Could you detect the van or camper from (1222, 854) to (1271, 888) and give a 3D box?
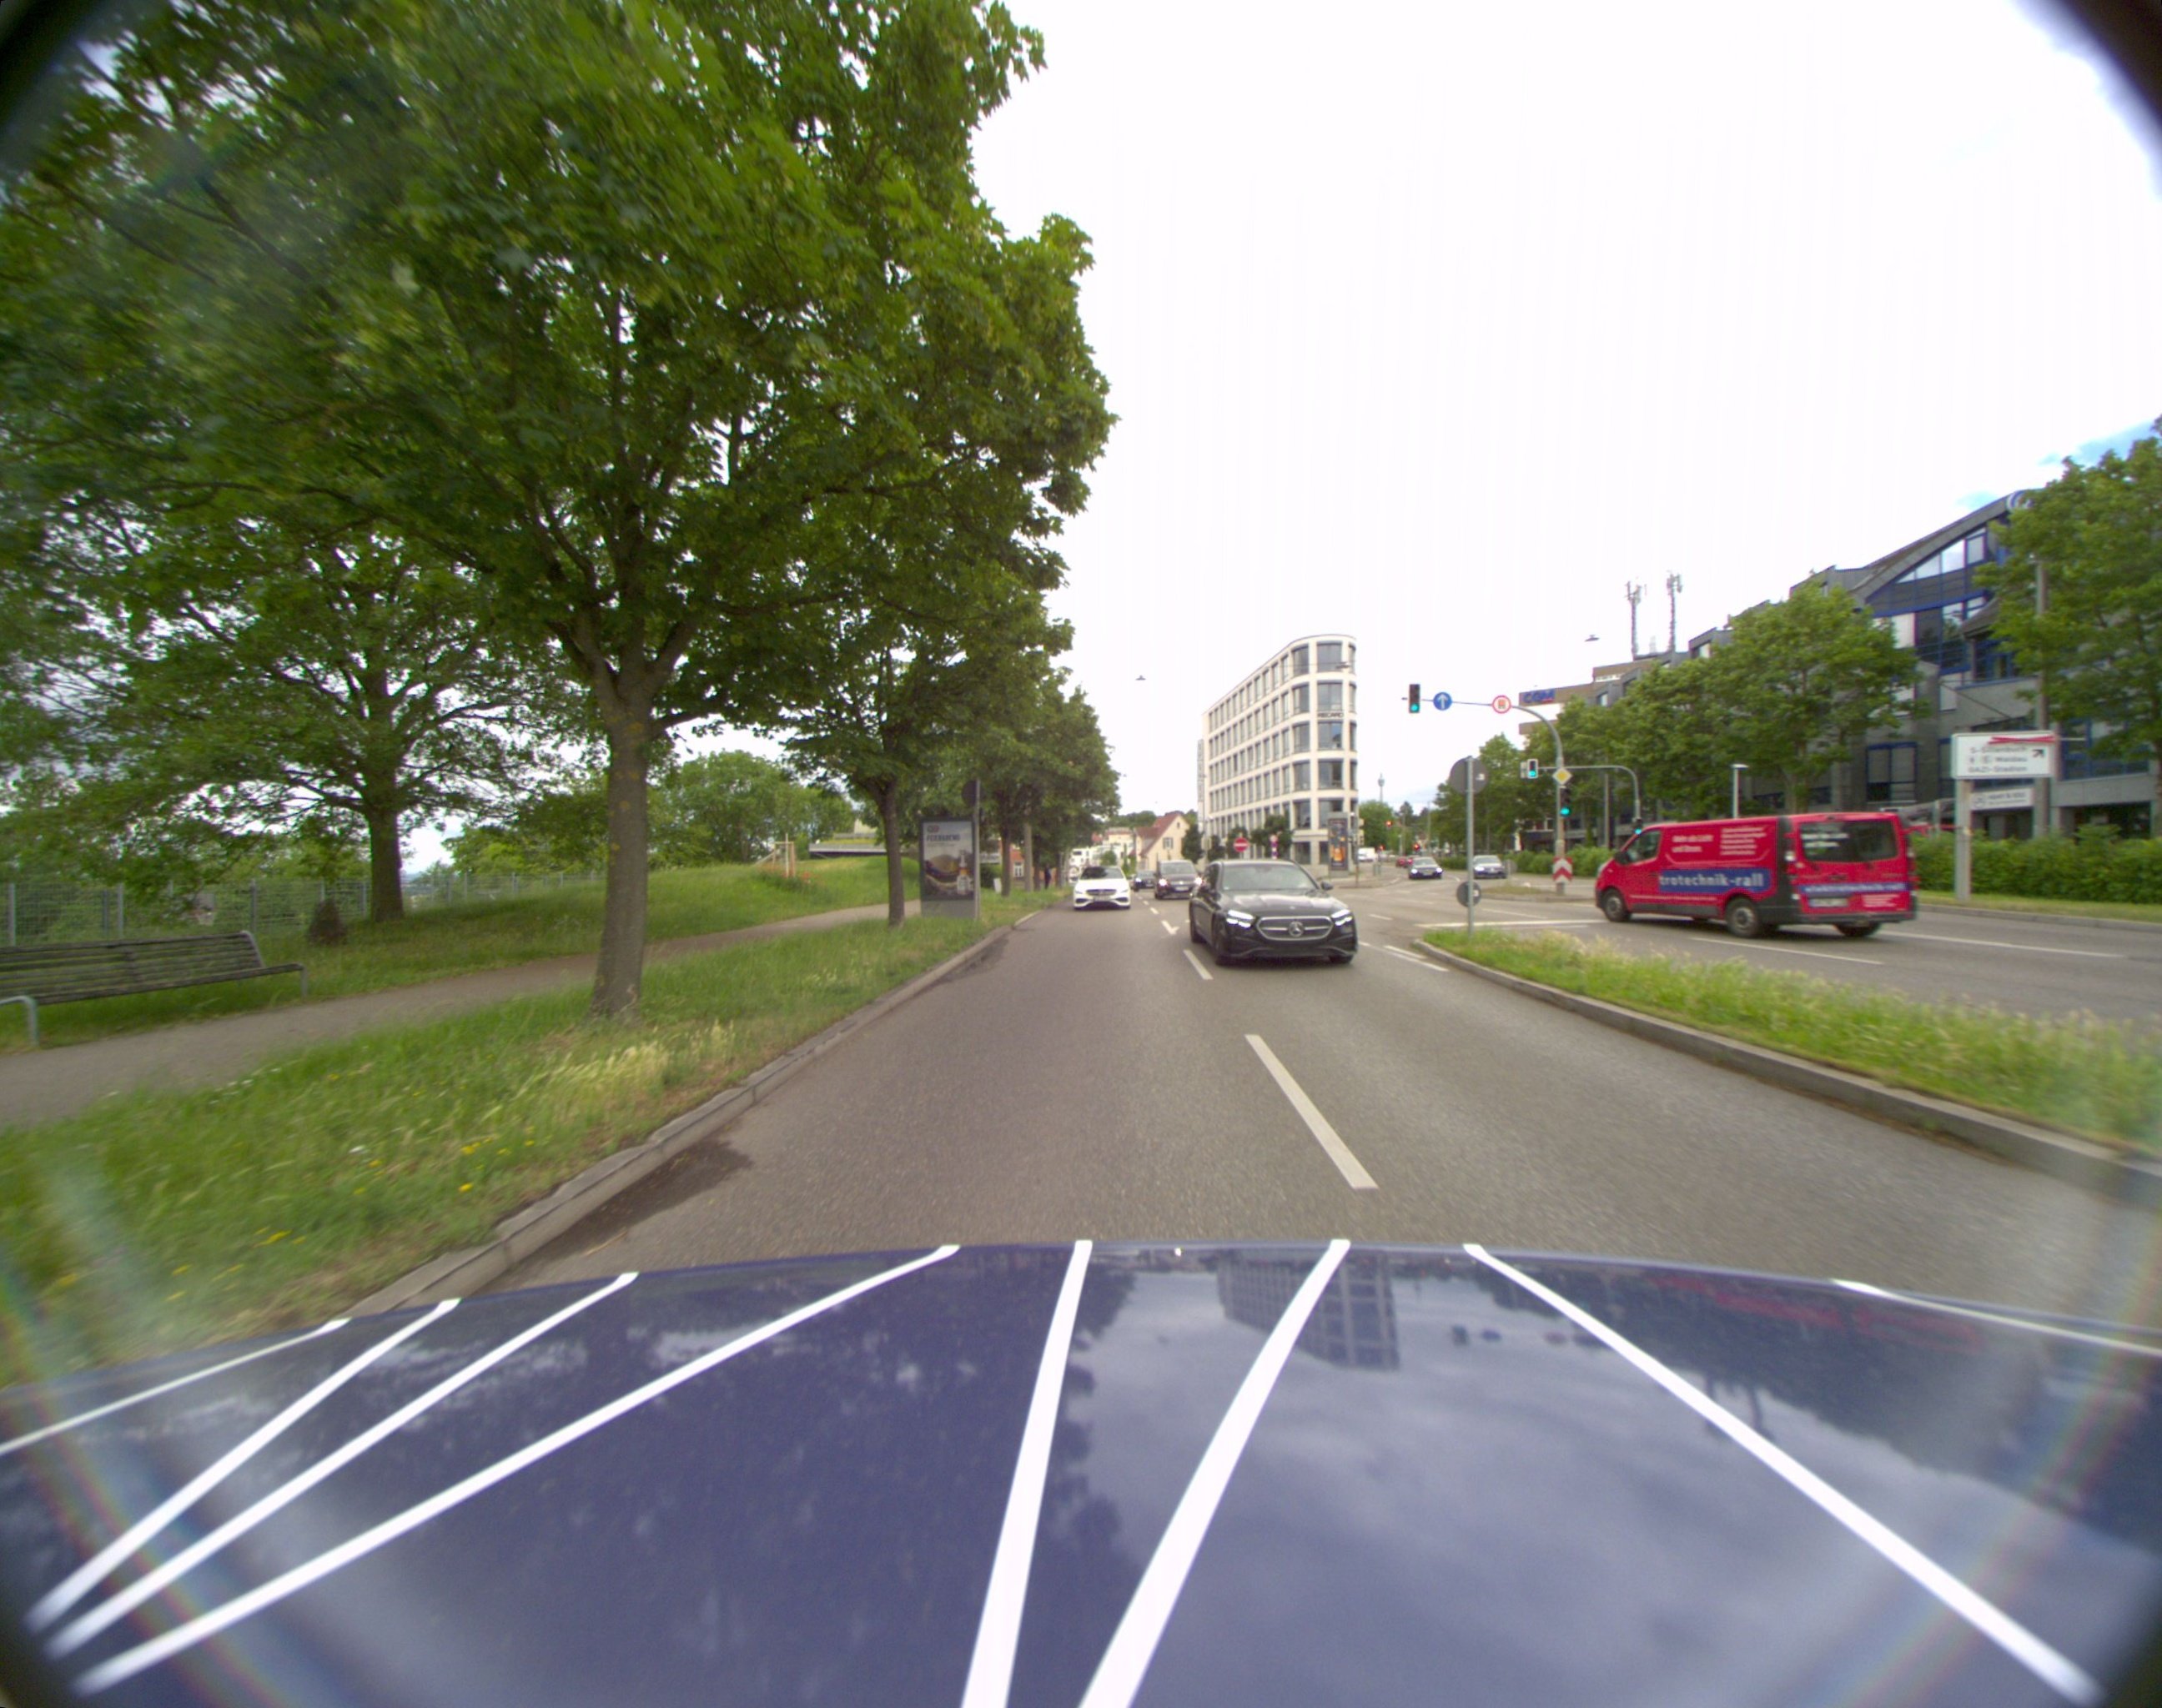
[{"bbox_3d":[10.181,1.024,47.078,1.931,1.926,5.249,-2,-1,1],"label":"van or camper"}]

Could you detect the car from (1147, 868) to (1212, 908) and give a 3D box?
[{"bbox_3d":[4.043,1.469,31.893,1.879,1.520,4.001,-1,-3,-5],"label":"car"}]

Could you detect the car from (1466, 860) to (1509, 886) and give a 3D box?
[{"bbox_3d":[25.329,1.141,47.468,1.778,1.454,4.448,-4,-2,21],"label":"car"}]

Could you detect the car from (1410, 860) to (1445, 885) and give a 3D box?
[{"bbox_3d":[23.295,1.239,51.179,1.778,1.454,4.447,-4,-1,21],"label":"car"}]

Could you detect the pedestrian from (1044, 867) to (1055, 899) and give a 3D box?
[{"bbox_3d":[-1.843,1.709,44.560,0.644,1.844,0.673,-1,-2,-3],"label":"pedestrian"}]

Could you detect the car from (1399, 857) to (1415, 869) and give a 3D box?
[{"bbox_3d":[44.523,1.180,103.824,1.715,1.454,4.447,-4,-1,21],"label":"car"}]

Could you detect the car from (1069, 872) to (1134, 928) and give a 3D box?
[{"bbox_3d":[0.741,1.408,24.151,1.809,1.520,4.003,-4,-2,4],"label":"car"}]

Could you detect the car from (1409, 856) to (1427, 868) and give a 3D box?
[{"bbox_3d":[42.749,0.996,96.471,1.715,1.454,4.447,-4,-1,21],"label":"car"}]

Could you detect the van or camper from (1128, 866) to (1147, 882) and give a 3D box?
[{"bbox_3d":[7.035,2.512,95.334,1.999,2.001,4.450,-1,-1,-1],"label":"van or camper"}]

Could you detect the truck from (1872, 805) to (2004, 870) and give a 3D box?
[{"bbox_3d":[36.139,-0.604,32.210,1.996,2.371,4.008,-4,-3,21],"label":"truck"}]

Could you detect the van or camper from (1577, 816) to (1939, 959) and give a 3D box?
[{"bbox_3d":[11.419,0.504,13.522,1.998,2.002,5.198,-1,0,3],"label":"van or camper"}]

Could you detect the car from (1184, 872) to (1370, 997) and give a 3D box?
[{"bbox_3d":[2.812,1.086,11.932,1.878,1.521,4.336,-2,-1,2],"label":"car"}]

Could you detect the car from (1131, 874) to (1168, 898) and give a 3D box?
[{"bbox_3d":[4.744,2.286,53.207,1.879,1.520,4.001,-1,-3,-5],"label":"car"}]
